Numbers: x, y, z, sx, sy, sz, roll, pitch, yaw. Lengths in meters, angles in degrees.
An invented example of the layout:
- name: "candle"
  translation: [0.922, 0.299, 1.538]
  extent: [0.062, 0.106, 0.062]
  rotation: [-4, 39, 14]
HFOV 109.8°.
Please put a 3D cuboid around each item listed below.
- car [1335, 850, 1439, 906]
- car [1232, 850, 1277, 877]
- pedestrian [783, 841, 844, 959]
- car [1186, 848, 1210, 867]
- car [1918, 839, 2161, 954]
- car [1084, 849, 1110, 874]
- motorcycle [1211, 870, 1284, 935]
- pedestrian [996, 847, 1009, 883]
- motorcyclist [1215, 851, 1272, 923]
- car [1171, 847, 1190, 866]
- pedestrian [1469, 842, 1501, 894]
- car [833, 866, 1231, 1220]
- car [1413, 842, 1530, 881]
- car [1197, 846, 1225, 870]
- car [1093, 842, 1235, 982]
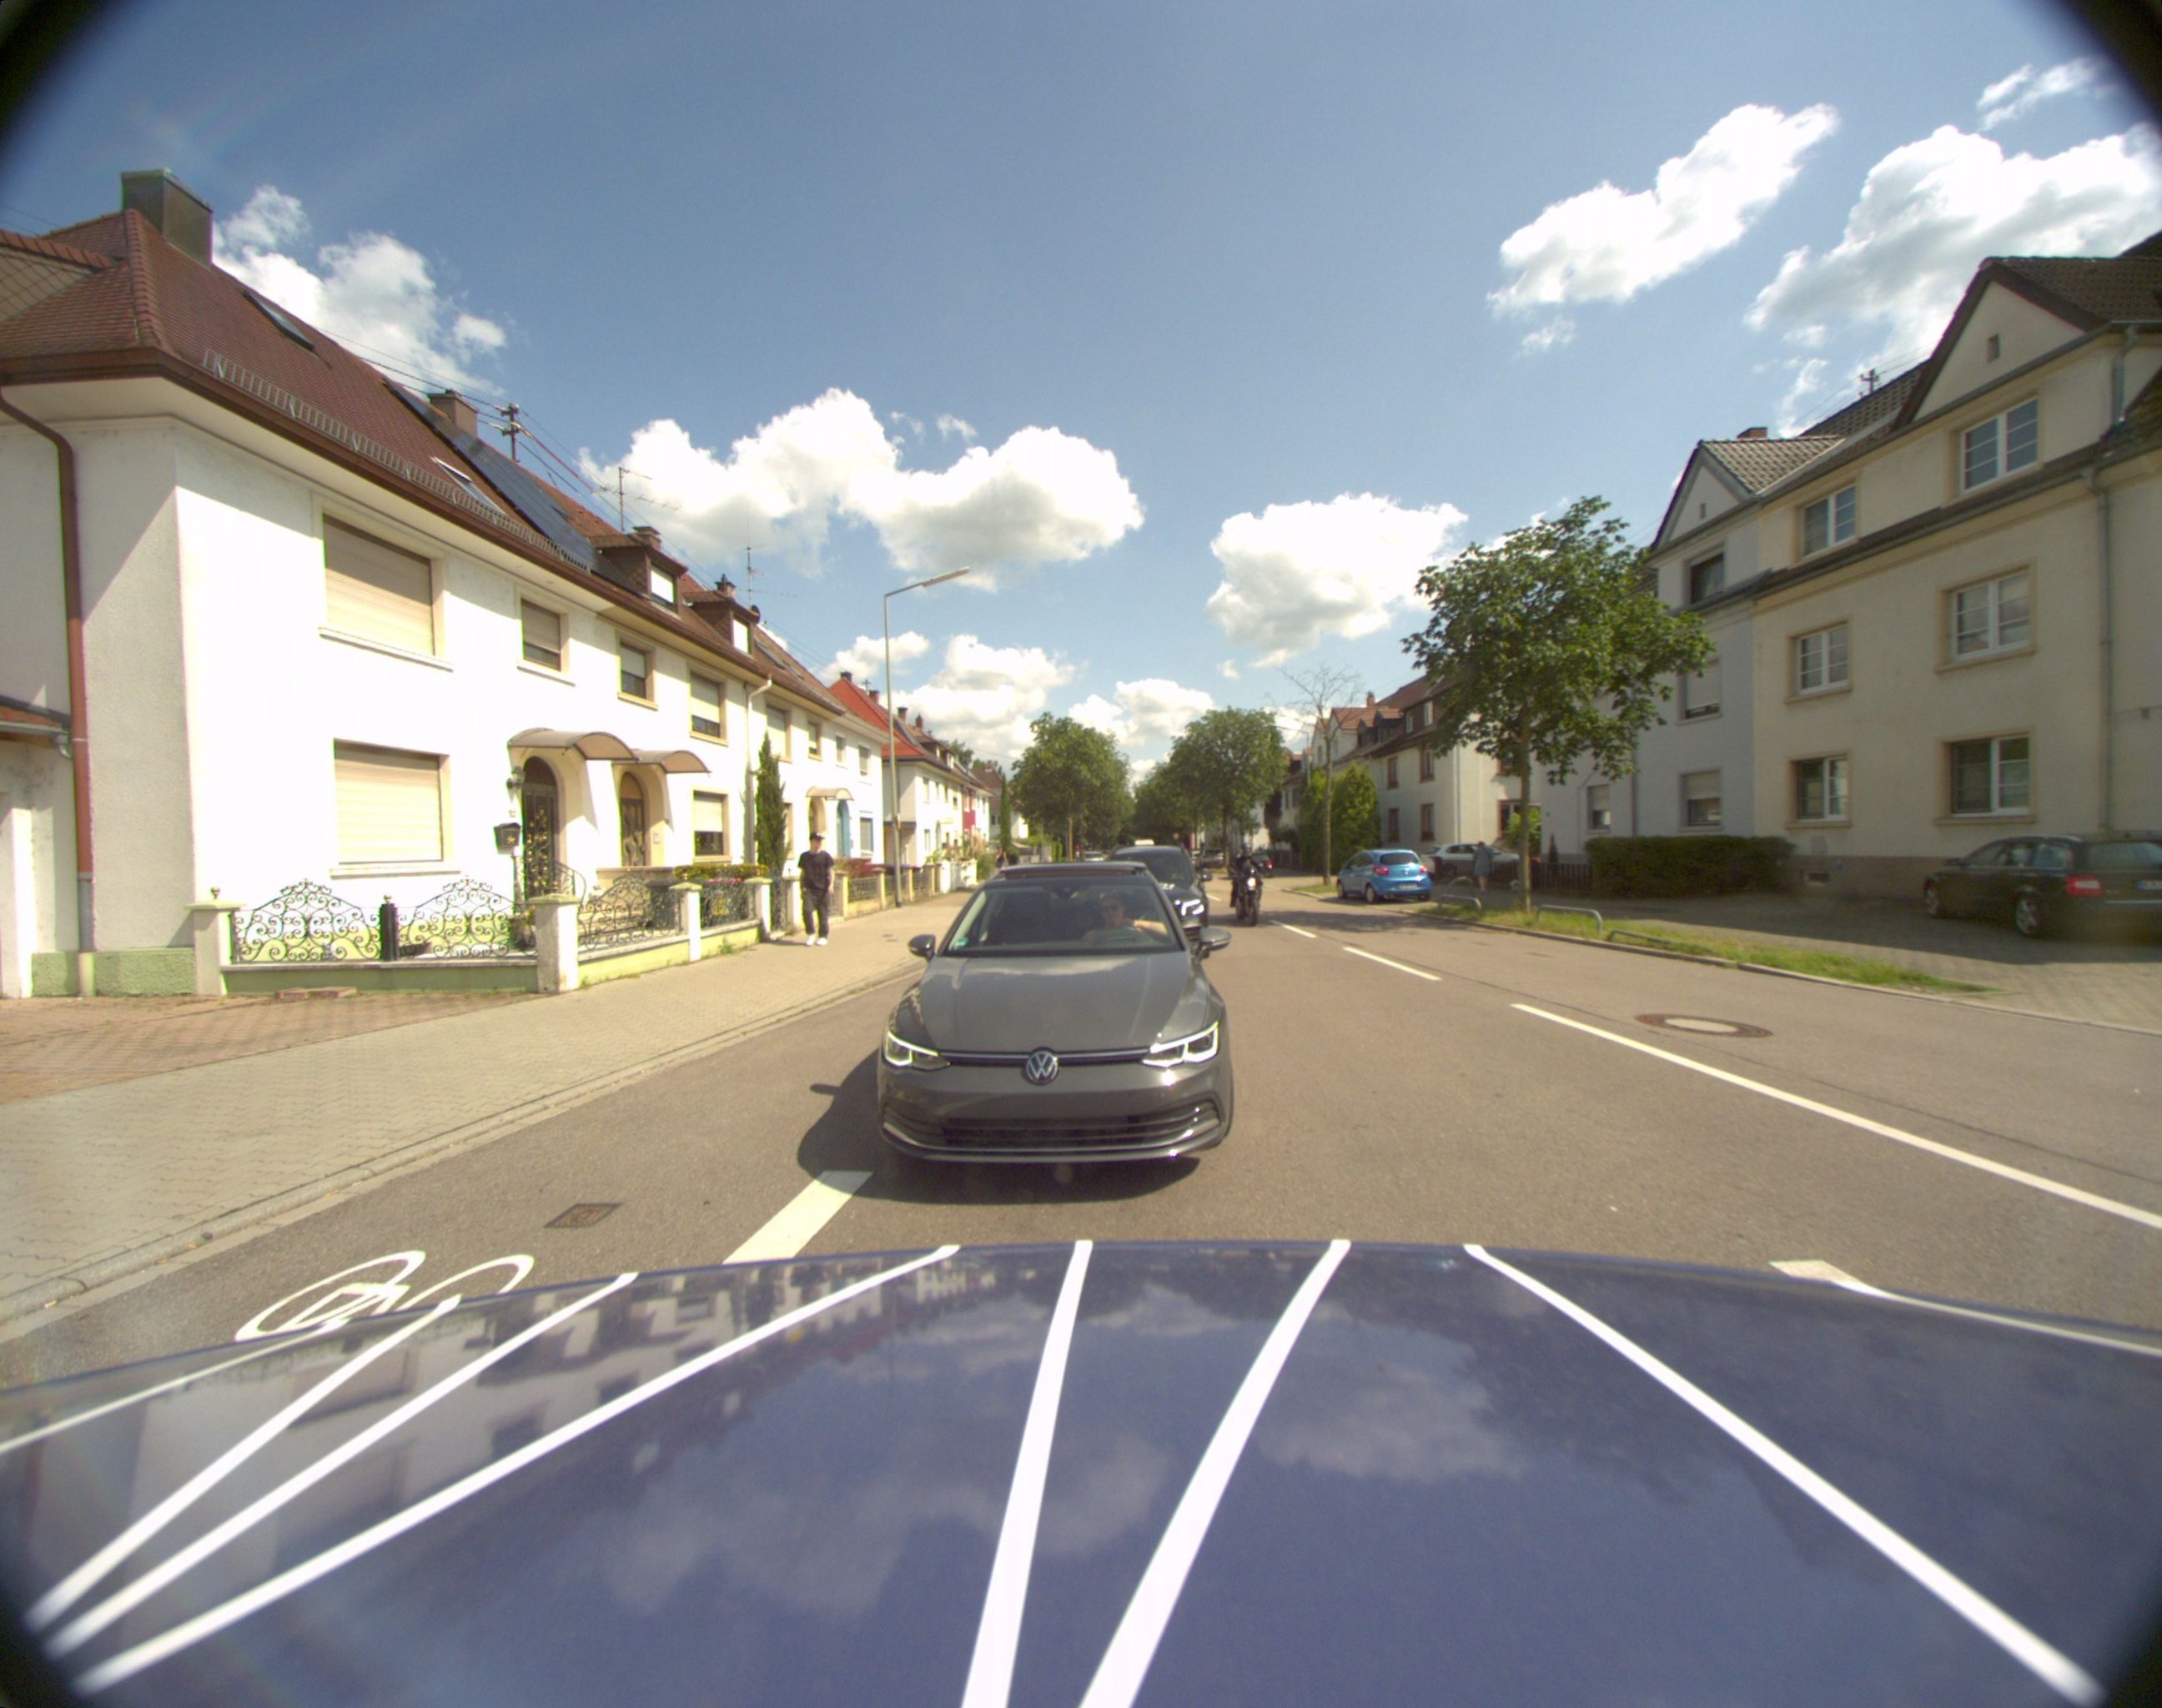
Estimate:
- name: "car"
  translation: [8.628, 0.621, 21.655]
  extent: [1.709, 1.454, 3.154]
  rotation: [-1, 0, 1]
- name: "car"
  translation: [8.957, 0.461, 39.491]
  extent: [1.709, 1.289, 3.918]
  rotation: [-1, 0, 4]
- name: "pedestrian"
  translation: [-4.146, 0.685, 11.834]
  extent: [0.592, 1.757, 0.937]
  rotation: [-1, 1, 1]
- name: "car"
  translation: [9.133, 0.271, 59.459]
  extent: [1.623, 1.417, 3.002]
  rotation: [-2, 0, 6]
- name: "car"
  translation: [14.244, 0.496, 10.995]
  extent: [1.757, 1.378, 4.110]
  rotation: [-1, 1, 31]
- name: "car"
  translation: [1.079, 0.477, 49.963]
  extent: [1.381, 1.493, 3.002]
  rotation: [-2, 0, 6]
- name: "motorcycle"
  translation: [3.315, 0.932, 15.362]
  extent: [0.843, 1.121, 2.358]
  rotation: [-1, 0, -3]
- name: "pedestrian"
  translation: [-3.726, 0.510, 36.105]
  extent: [0.519, 1.701, 0.618]
  rotation: [-1, 1, 2]
- name: "motorcyclist"
  translation: [3.313, 0.671, 15.593]
  extent: [0.825, 1.390, 1.100]
  rotation: [-3, -2, -3]
- name: "car"
  translation: [8.945, 0.218, 68.501]
  extent: [1.562, 1.645, 3.252]
  rotation: [-1, 0, 4]
- name: "pedestrian"
  translation: [12.050, 0.423, 22.684]
  extent: [0.631, 1.527, 0.618]
  rotation: [-1, 1, 6]
- name: "car"
  translation: [-0.250, 0.892, 5.782]
  extent: [1.766, 1.465, 4.686]
  rotation: [-1, 0, -1]
- name: "car"
  translation: [15.638, 0.284, 30.583]
  extent: [3.805, 1.446, 1.711]
  rotation: [-1, 1, 4]
- name: "car"
  translation: [9.124, 0.254, 53.433]
  extent: [1.562, 1.645, 3.574]
  rotation: [-1, 0, 4]
- name: "car"
  translation: [1.116, 0.720, 12.113]
  extent: [1.776, 1.754, 4.874]
  rotation: [-1, 0, 1]
